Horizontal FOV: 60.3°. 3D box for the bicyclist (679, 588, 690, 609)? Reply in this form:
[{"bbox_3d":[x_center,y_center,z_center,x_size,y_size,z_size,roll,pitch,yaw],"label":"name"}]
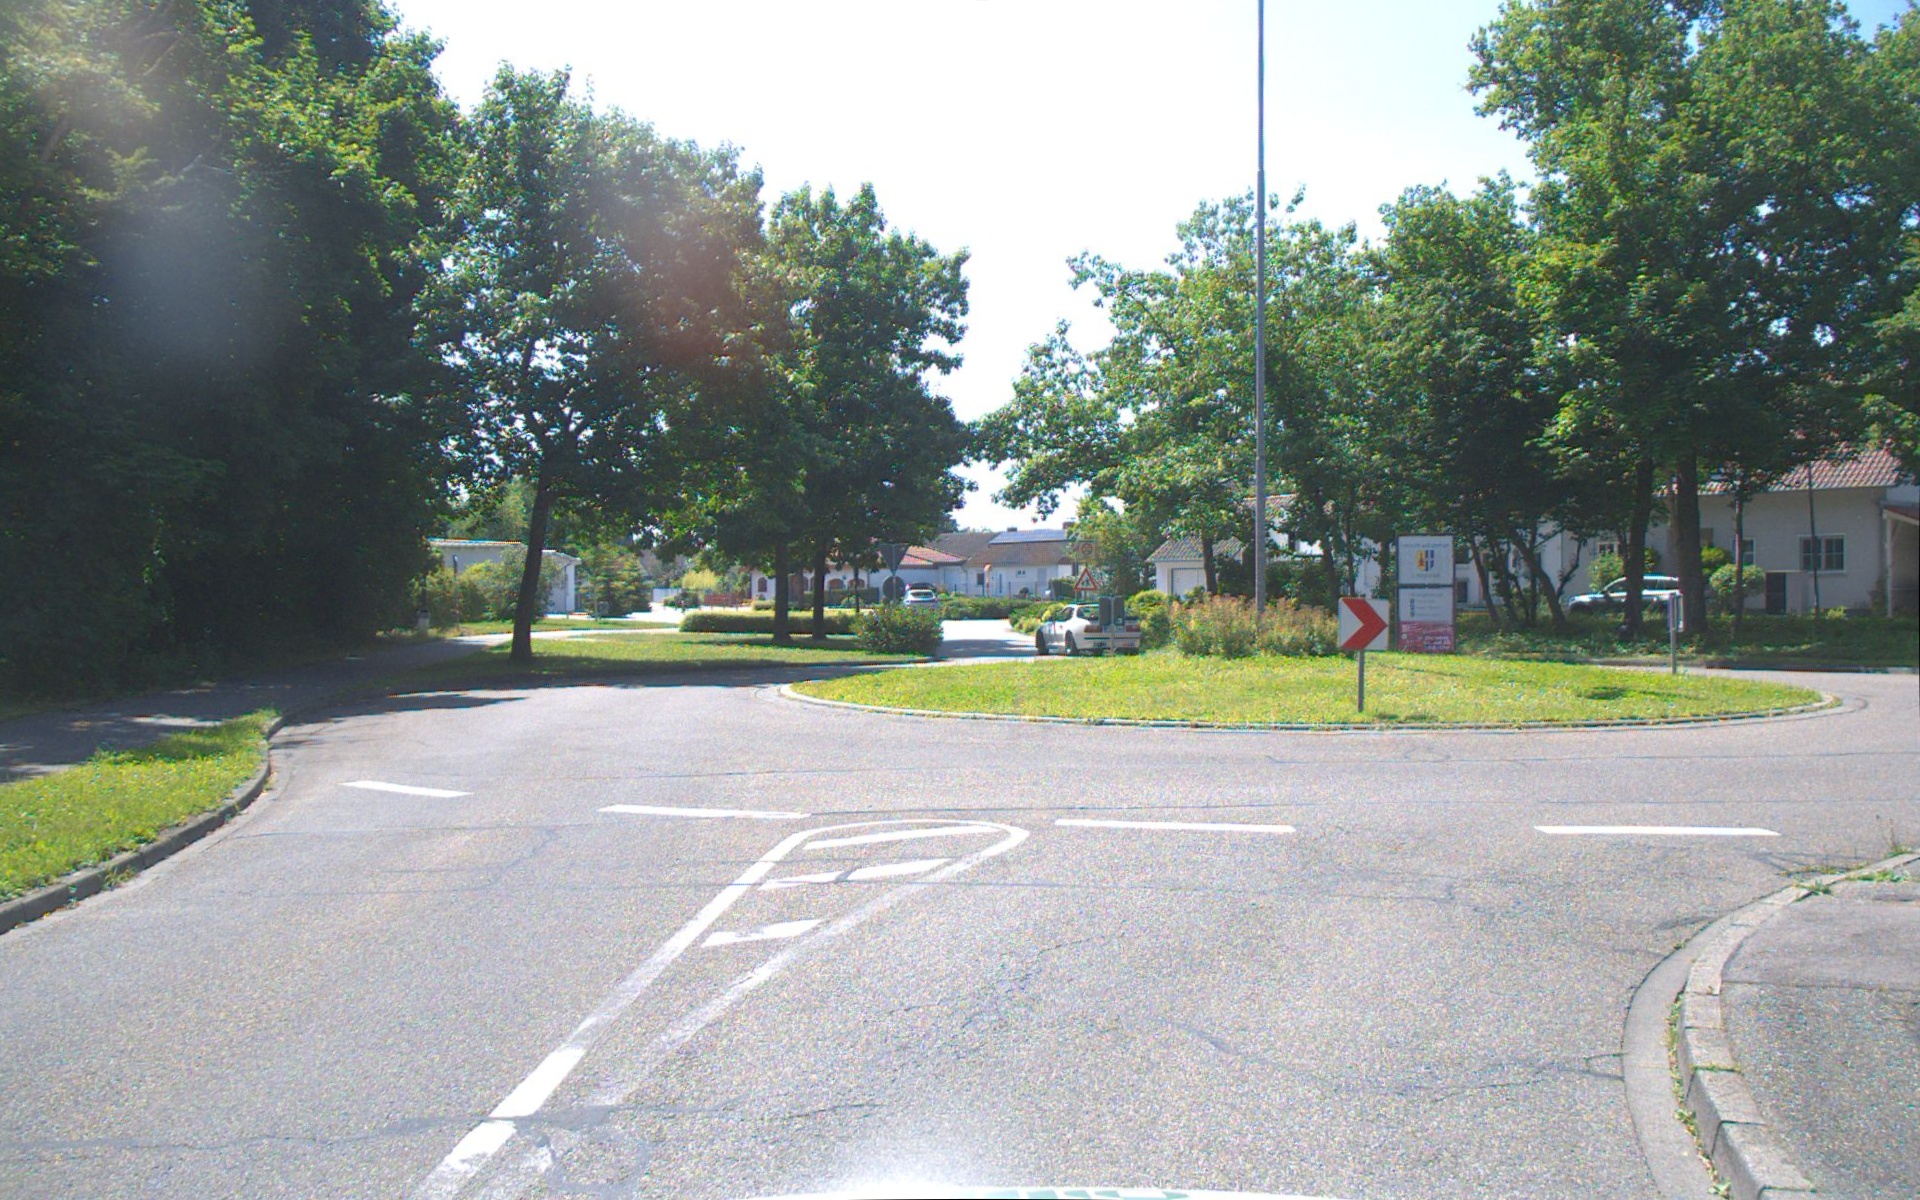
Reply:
[{"bbox_3d":[-15.772,-0.071,94.604,0.586,1.185,0.647,-1,0,-9],"label":"bicyclist"}]

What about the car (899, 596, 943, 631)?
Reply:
[{"bbox_3d":[-1.843,0.607,77.405,1.598,1.512,3.993,-1,1,-8],"label":"car"}]

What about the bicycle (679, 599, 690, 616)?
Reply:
[{"bbox_3d":[-15.758,0.414,94.554,0.586,0.945,1.617,-1,0,-9],"label":"bicycle"}]

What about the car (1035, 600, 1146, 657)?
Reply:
[{"bbox_3d":[3.127,0.666,40.229,1.588,1.311,3.541,0,0,-16],"label":"car"}]

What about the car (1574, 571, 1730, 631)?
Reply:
[{"bbox_3d":[20.928,0.035,50.145,1.652,1.735,4.081,0,0,-41],"label":"car"}]
